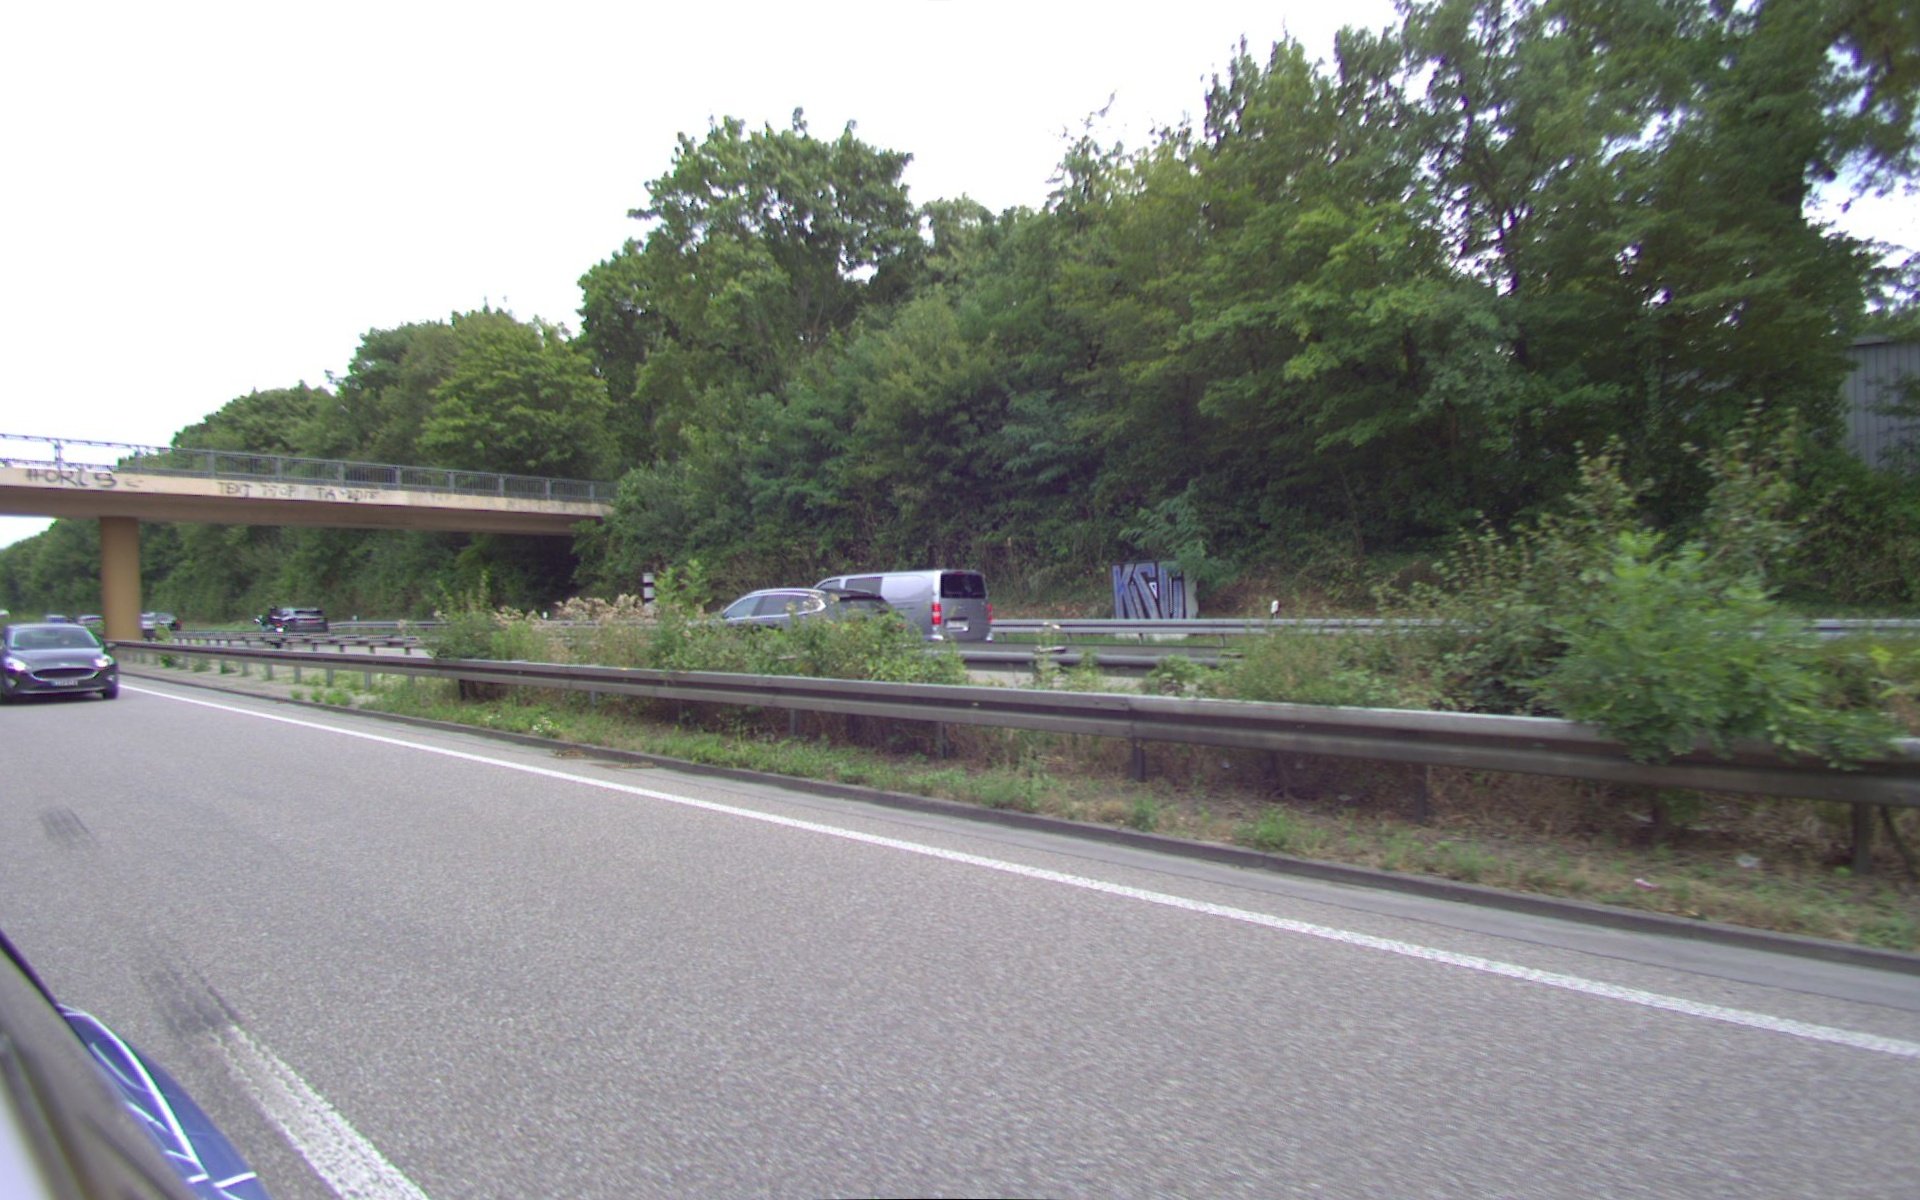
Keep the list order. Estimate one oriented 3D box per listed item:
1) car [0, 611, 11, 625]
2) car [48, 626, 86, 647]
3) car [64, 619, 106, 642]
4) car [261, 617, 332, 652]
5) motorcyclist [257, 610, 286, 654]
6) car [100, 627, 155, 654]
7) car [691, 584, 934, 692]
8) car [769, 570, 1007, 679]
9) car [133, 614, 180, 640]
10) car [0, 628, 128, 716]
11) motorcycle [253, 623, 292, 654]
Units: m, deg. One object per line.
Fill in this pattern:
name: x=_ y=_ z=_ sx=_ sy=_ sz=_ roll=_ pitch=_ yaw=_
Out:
car: x=-122.108 y=2.278 z=128.333 sx=4.638 sy=1.664 sz=2.164 roll=-1 pitch=-1 yaw=42
car: x=-75.296 y=3.067 z=85.314 sx=4.638 sy=1.664 sz=1.873 roll=-1 pitch=-1 yaw=42
car: x=-58.634 y=1.996 z=67.770 sx=3.989 sy=1.474 sz=1.671 roll=-1 pitch=-1 yaw=42
car: x=-32.931 y=1.675 z=50.193 sx=4.638 sy=1.664 sz=1.873 roll=-1 pitch=-1 yaw=42
motorcyclist: x=-25.320 y=1.170 z=37.221 sx=0.846 sy=1.560 sz=0.673 roll=-1 pitch=1 yaw=41
car: x=-45.502 y=2.170 z=55.283 sx=4.935 sy=1.391 sz=1.671 roll=-1 pitch=-1 yaw=42
car: x=-2.578 y=0.590 z=17.083 sx=4.179 sy=1.602 sz=1.784 roll=-1 pitch=-1 yaw=41
car: x=-1.644 y=0.492 z=21.264 sx=5.299 sy=2.029 sz=1.777 roll=-1 pitch=-1 yaw=41
car: x=-56.305 y=1.876 z=70.864 sx=4.638 sy=1.699 sz=1.873 roll=-1 pitch=-1 yaw=42
car: x=-17.770 y=1.310 z=19.682 sx=4.638 sy=1.469 sz=1.807 roll=-1 pitch=-1 yaw=42
motorcycle: x=-25.275 y=1.395 z=37.191 sx=2.195 sy=1.075 sz=0.694 roll=-1 pitch=-1 yaw=42
